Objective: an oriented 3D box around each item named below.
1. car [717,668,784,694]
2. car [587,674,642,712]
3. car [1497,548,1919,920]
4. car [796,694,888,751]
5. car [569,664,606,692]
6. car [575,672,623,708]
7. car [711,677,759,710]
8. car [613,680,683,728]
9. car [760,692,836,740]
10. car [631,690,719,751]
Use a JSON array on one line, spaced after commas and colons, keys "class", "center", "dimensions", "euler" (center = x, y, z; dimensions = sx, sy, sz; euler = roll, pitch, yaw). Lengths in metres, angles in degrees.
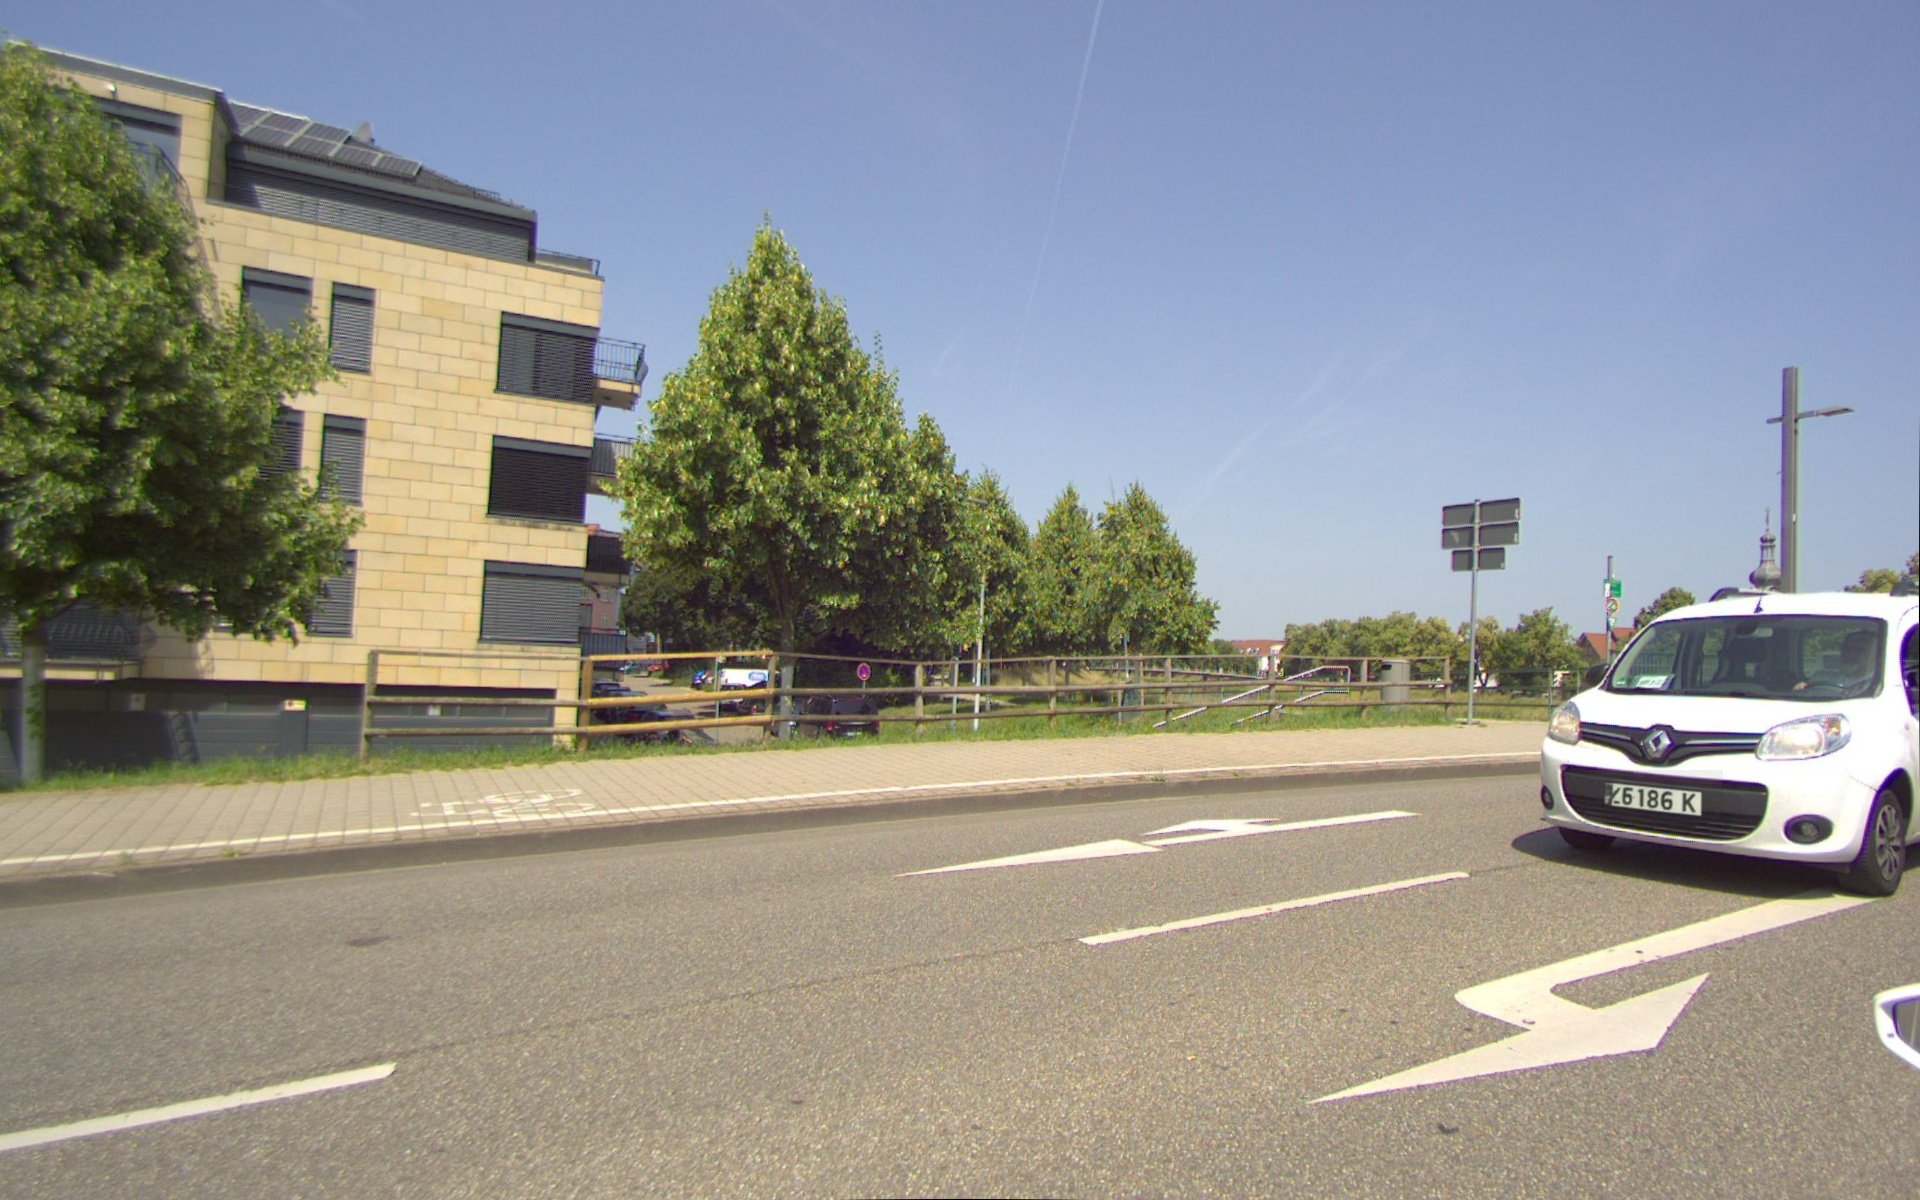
[{"class": "car", "center": [-13.927, 5.393, 66.919], "dimensions": [3.951, 1.670, 1.986], "euler": [3, -4, -28]}, {"class": "car", "center": [-16.485, 4.385, 47.784], "dimensions": [1.974, 1.670, 3.975], "euler": [3, -4, -26]}, {"class": "car", "center": [6.007, 0.792, 7.138], "dimensions": [4.612, 1.884, 1.827], "euler": [2, -3, -32]}, {"class": "car", "center": [-4.089, 4.111, 34.242], "dimensions": [1.973, 1.670, 3.977], "euler": [3, -4, -24]}, {"class": "car", "center": [-25.468, 5.317, 68.556], "dimensions": [1.974, 1.671, 3.975], "euler": [3, -3, -26]}, {"class": "car", "center": [-19.223, 4.767, 53.373], "dimensions": [1.974, 1.671, 3.975], "euler": [3, -3, -26]}, {"class": "car", "center": [-12.395, 5.144, 55.599], "dimensions": [1.962, 1.670, 3.999], "euler": [2, -4, -4]}, {"class": "car", "center": [-12.074, 3.968, 38.723], "dimensions": [1.974, 1.670, 3.975], "euler": [3, -4, -26]}, {"class": "car", "center": [-6.437, 4.521, 39.550], "dimensions": [1.973, 1.670, 3.977], "euler": [3, -4, -24]}, {"class": "car", "center": [-8.979, 3.715, 31.466], "dimensions": [1.974, 1.670, 3.975], "euler": [3, -4, -26]}]
